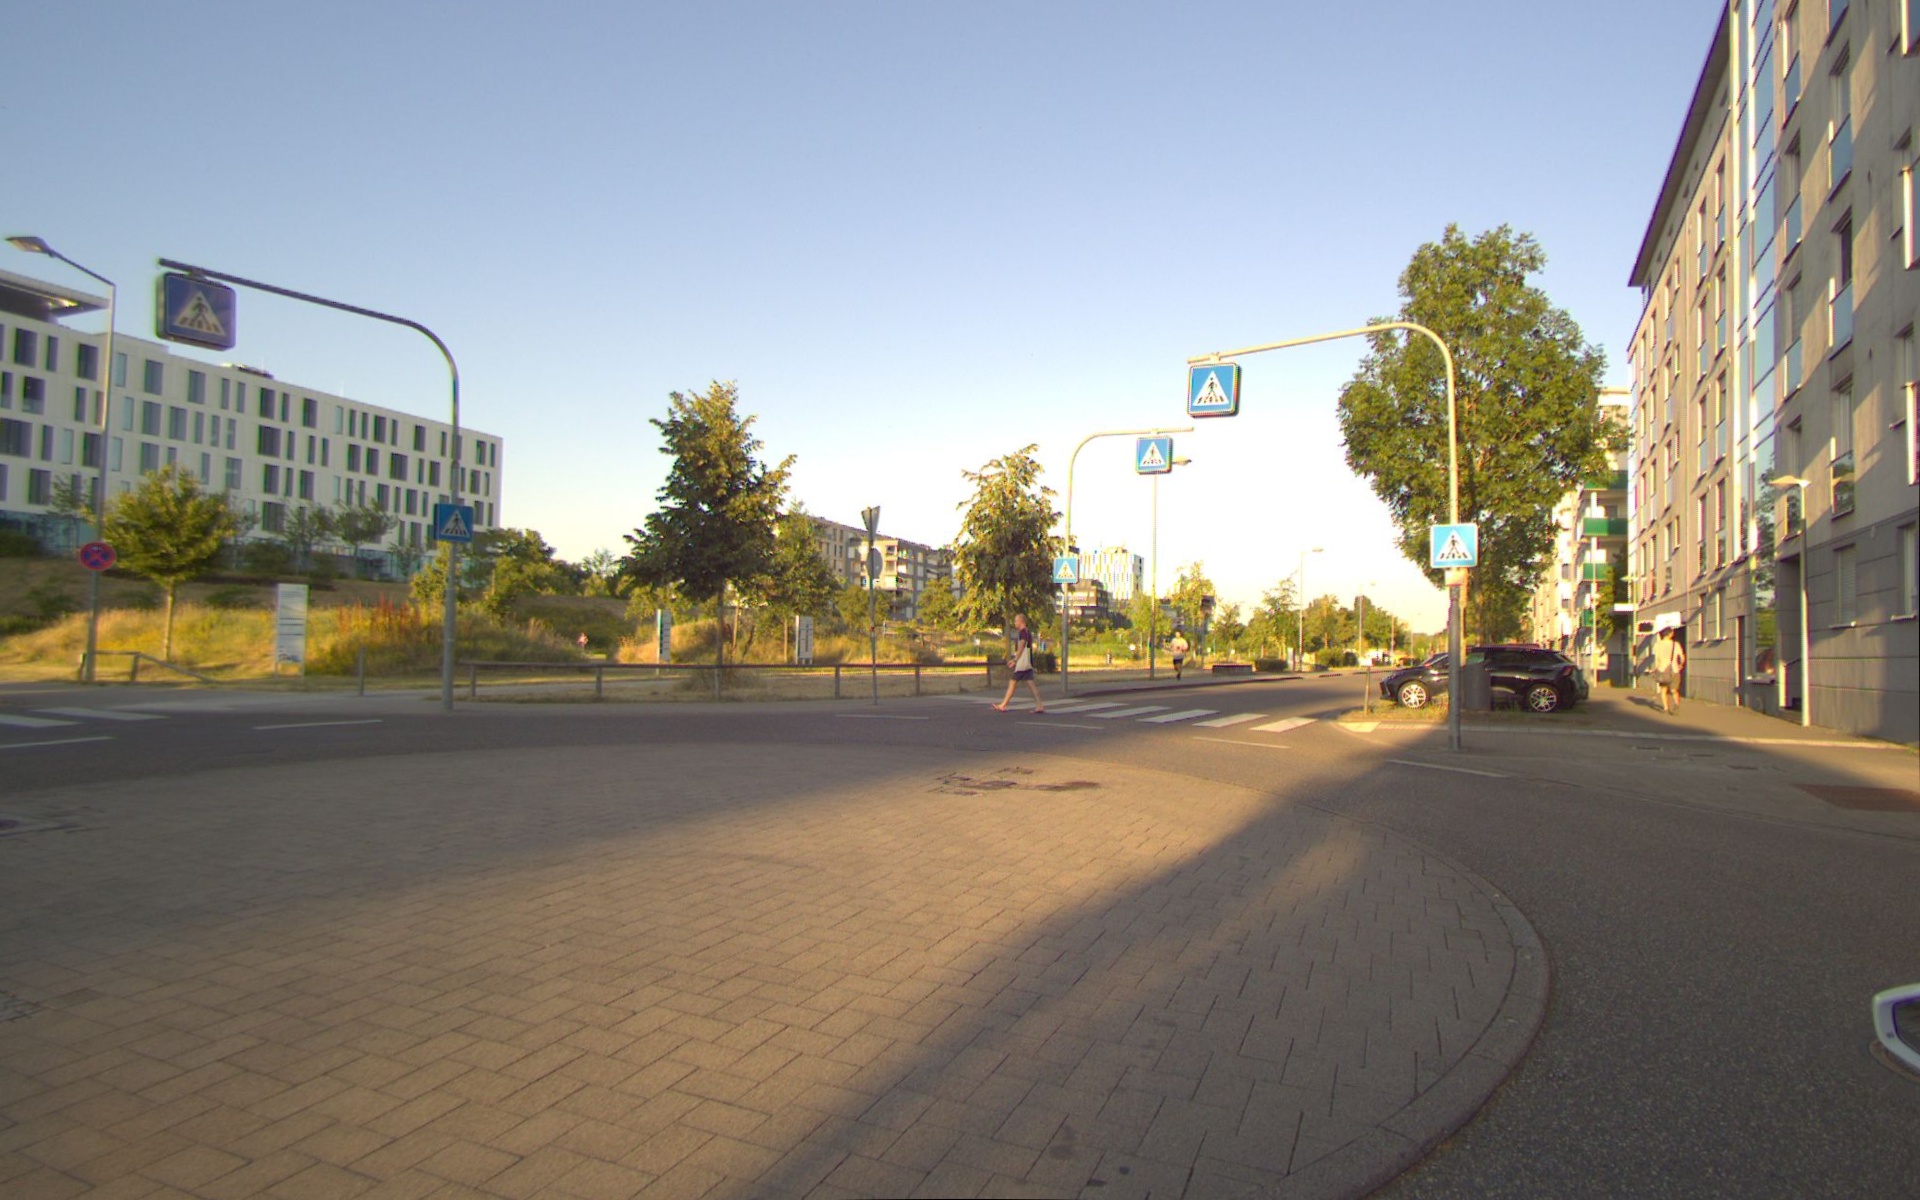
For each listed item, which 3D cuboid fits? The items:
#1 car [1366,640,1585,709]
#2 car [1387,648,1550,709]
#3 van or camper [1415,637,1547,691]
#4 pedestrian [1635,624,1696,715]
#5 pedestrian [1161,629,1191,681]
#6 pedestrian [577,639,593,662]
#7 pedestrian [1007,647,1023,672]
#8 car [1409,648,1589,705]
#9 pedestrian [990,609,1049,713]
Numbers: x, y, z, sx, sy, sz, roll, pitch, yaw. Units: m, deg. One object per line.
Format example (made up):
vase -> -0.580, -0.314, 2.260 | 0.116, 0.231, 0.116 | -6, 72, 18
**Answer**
car -> 12.077, 1.768, 23.773 | 4.398, 1.506, 1.832 | -2, -4, 27
car -> 14.357, 2.187, 28.507 | 3.981, 1.499, 1.700 | 1, -3, 27
van or camper -> 22.787, 2.773, 44.107 | 5.036, 2.087, 1.876 | 1, -3, 26
pedestrian -> 15.536, 1.515, 22.150 | 0.962, 1.919, 1.048 | 1, -3, 28
pedestrian -> 7.517, 1.923, 34.914 | 0.754, 1.752, 0.800 | 1, -3, 33
pedestrian -> -29.821, 3.988, 79.815 | 0.819, 1.789, 0.816 | 1, -3, 31
pedestrian -> 2.357, 2.555, 43.067 | 0.490, 1.018, 0.571 | 1, -2, 23
car -> 13.817, 1.959, 25.958 | 3.932, 1.391, 1.558 | -2, -3, 27
pedestrian -> 1.069, 1.095, 18.096 | 0.787, 1.807, 0.734 | 1, -2, 26
